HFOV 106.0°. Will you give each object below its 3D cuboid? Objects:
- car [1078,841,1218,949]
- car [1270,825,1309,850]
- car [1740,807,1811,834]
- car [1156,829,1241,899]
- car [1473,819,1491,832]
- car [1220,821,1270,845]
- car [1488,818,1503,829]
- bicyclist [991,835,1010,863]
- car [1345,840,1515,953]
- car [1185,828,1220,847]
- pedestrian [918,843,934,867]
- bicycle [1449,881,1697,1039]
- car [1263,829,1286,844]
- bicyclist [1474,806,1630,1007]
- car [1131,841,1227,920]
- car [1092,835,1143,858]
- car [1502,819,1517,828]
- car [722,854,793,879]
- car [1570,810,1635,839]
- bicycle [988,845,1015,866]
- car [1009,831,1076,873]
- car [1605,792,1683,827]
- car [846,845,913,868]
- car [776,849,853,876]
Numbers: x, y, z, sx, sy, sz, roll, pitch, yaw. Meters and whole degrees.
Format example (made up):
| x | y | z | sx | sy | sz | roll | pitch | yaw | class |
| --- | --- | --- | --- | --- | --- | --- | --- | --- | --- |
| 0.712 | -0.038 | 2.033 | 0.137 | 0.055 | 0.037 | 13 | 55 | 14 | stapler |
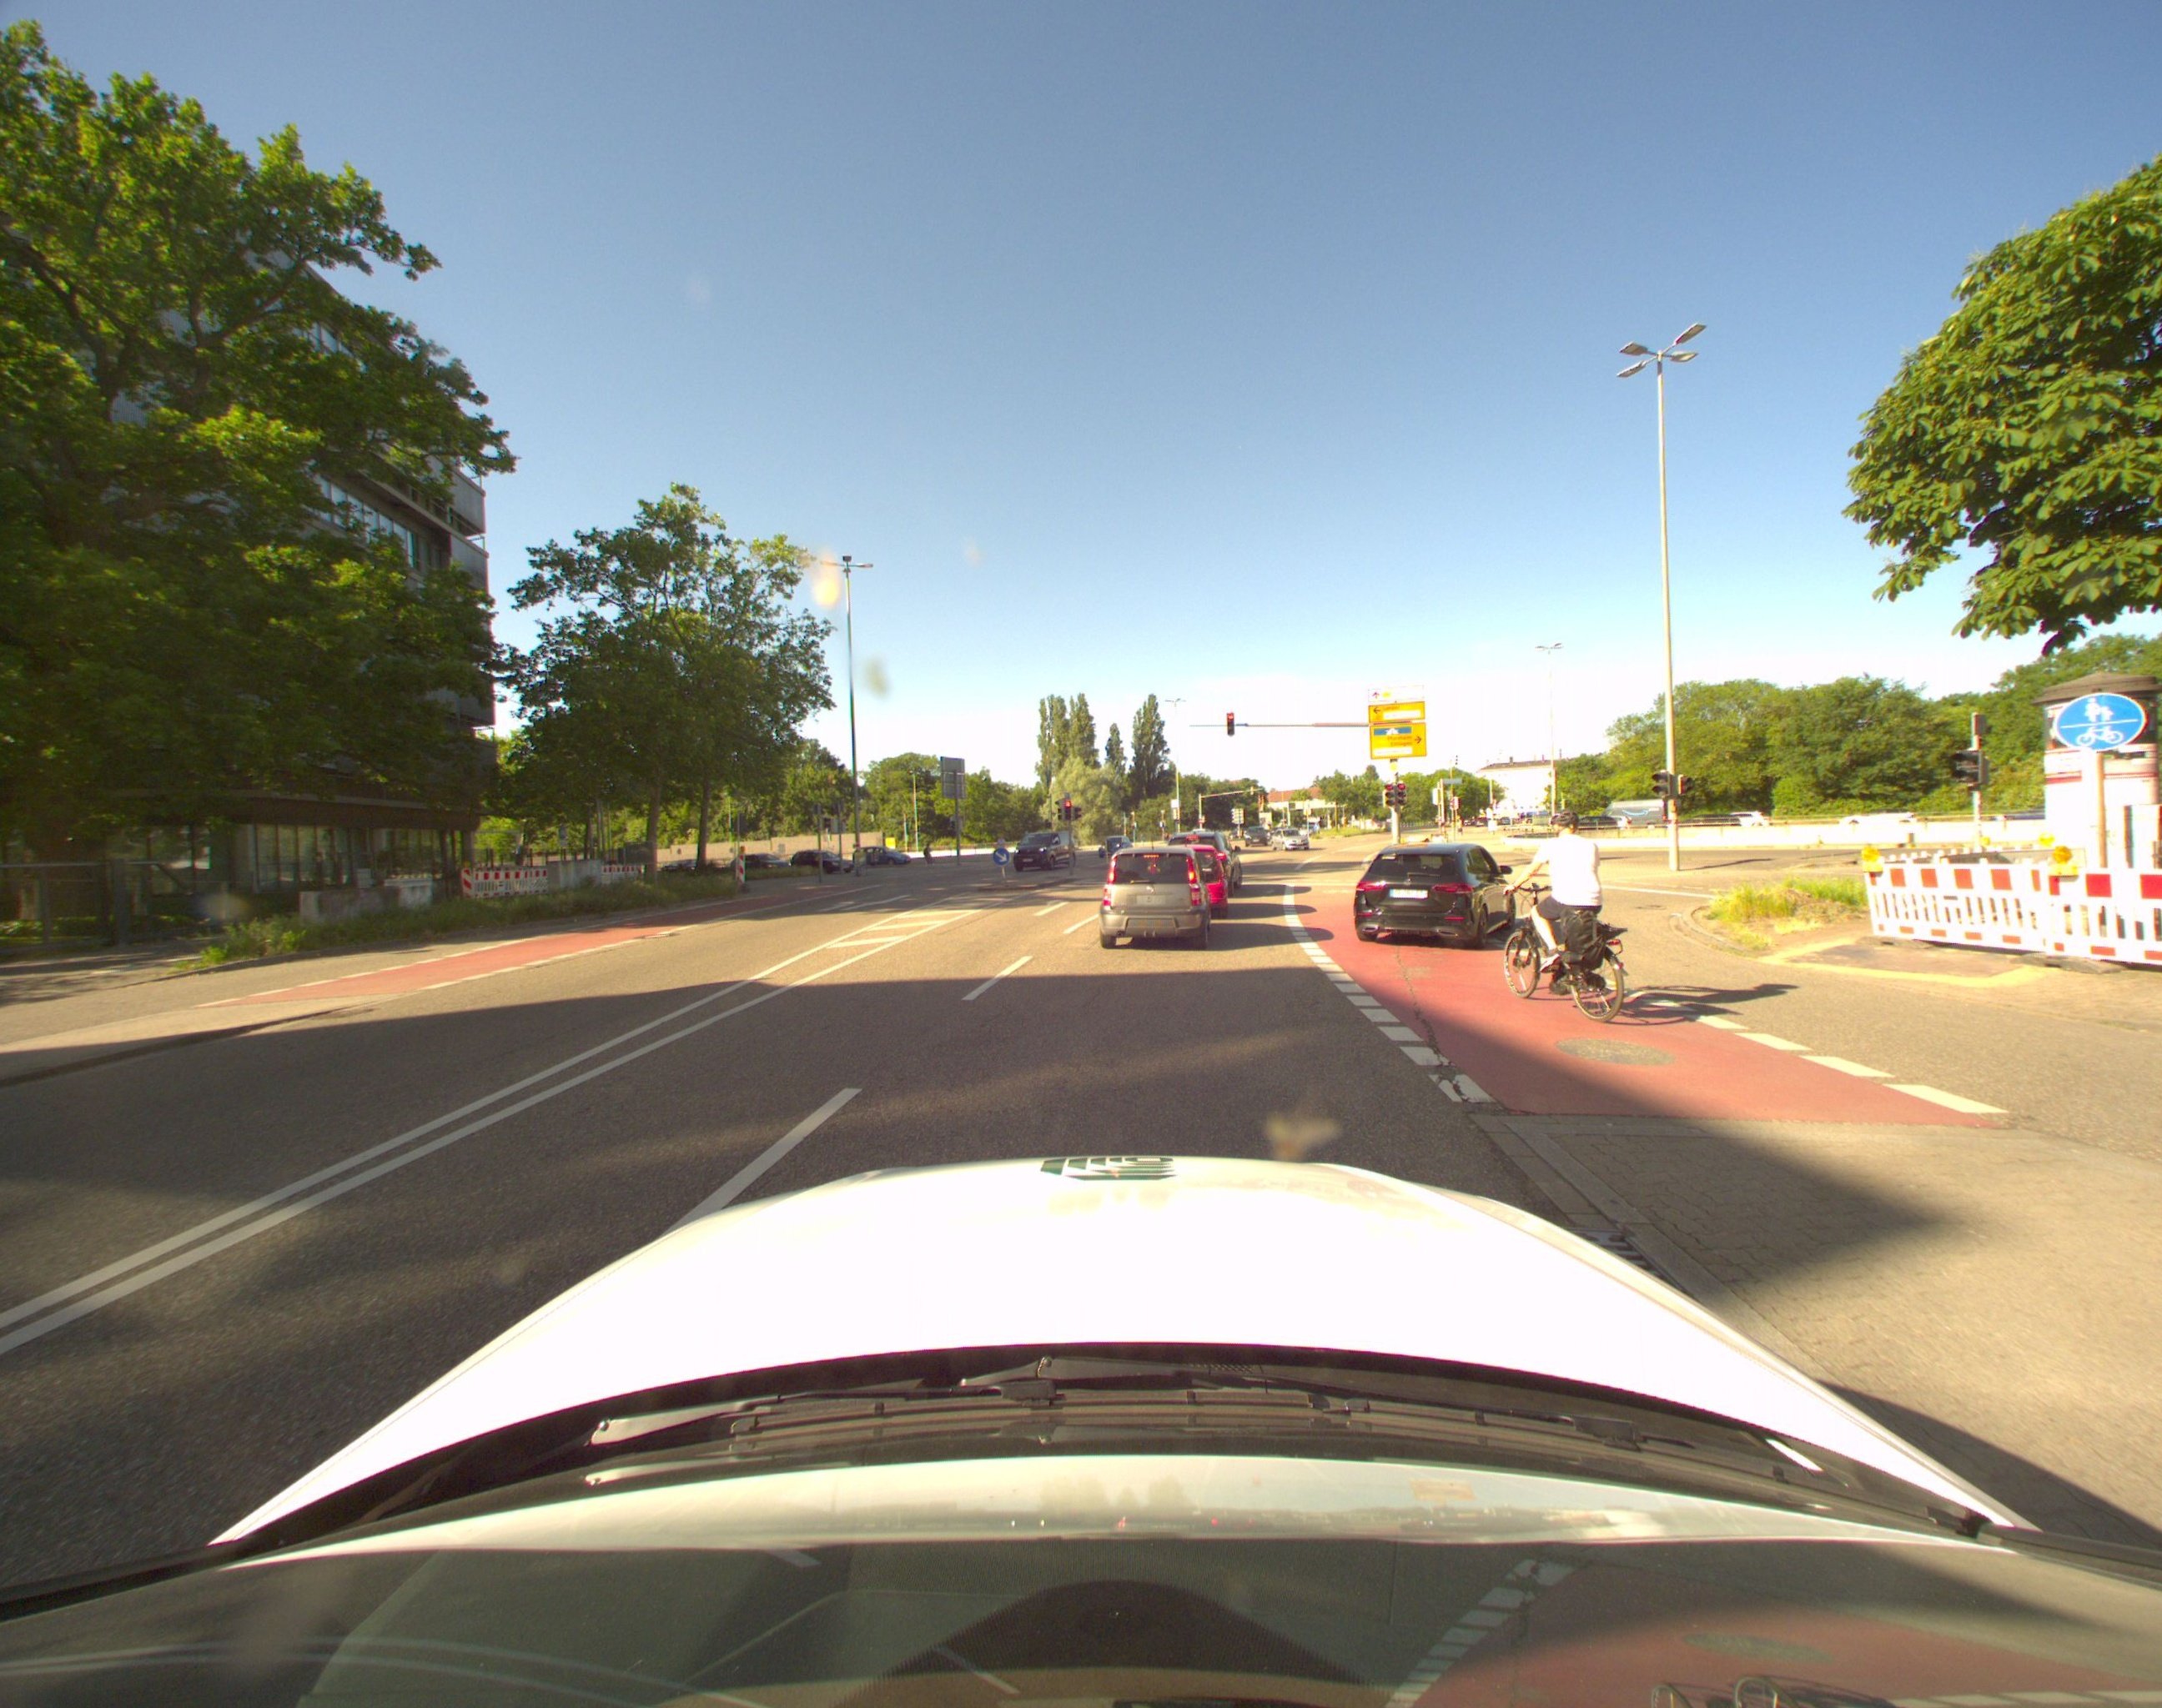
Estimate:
| x | y | z | sx | sy | sz | roll | pitch | yaw | class |
| --- | --- | --- | --- | --- | --- | --- | --- | --- | --- |
| 1.270 | 0.564 | 13.569 | 1.808 | 1.489 | 4.013 | -1 | 1 | 12 | car |
| 14.262 | -1.122 | 55.808 | 1.812 | 1.582 | 4.108 | -3 | 1 | 4 | car |
| 52.955 | -2.520 | 62.087 | 3.950 | 1.750 | 2.012 | -2 | -2 | 44 | car |
| 3.440 | 0.205 | 23.151 | 1.855 | 1.790 | 4.433 | 0 | 2 | 15 | car |
| 62.498 | -4.494 | 126.928 | 1.974 | 1.794 | 4.025 | -2 | -1 | 35 | car |
| 13.906 | -1.773 | 69.406 | 2.004 | 1.836 | 4.323 | 0 | -1 | -26 | car |
| 72.925 | -5.397 | 143.113 | 1.974 | 1.793 | 4.026 | -2 | 1 | 31 | car |
| -4.965 | -0.313 | 50.557 | 0.681 | 1.701 | 1.204 | -2 | 0 | 18 | bicyclist |
| 5.729 | 0.541 | 13.078 | 1.734 | 1.493 | 4.026 | 0 | 1 | 35 | car |
| 11.691 | -1.590 | 77.882 | 1.816 | 1.653 | 4.657 | -2 | 1 | 28 | car |
| -10.086 | 0.103 | 53.055 | 0.683 | 1.538 | 1.367 | -1 | -1 | 4 | pedestrian |
| 4.286 | 0.844 | 7.400 | 0.797 | 1.111 | 2.401 | -1 | 0 | 0 | bicycle |
| 19.992 | -1.827 | 83.942 | 1.978 | 1.453 | 4.019 | -2 | 1 | 18 | car |
| 4.278 | 0.445 | 7.489 | 0.797 | 1.705 | 1.085 | -1 | 0 | -1 | bicyclist |
| 2.216 | 0.499 | 17.787 | 1.809 | 1.479 | 4.011 | -2 | 1 | 9 | car |
| 2.623 | -0.557 | 58.117 | 1.803 | 1.503 | 4.479 | -2 | 1 | 28 | car |
| 84.499 | -6.080 | 160.593 | 1.974 | 1.640 | 4.026 | -2 | 1 | 35 | car |
| -21.180 | 0.803 | 53.312 | 4.394 | 1.438 | 1.837 | -2 | 1 | 28 | car |
| 41.026 | -2.278 | 64.115 | 3.950 | 2.014 | 2.012 | -2 | -2 | 44 | car |
| -4.926 | 0.083 | 50.629 | 0.681 | 1.202 | 2.338 | -2 | 0 | 18 | bicycle |
| -1.854 | -0.167 | 41.366 | 1.979 | 1.935 | 4.871 | -2 | 1 | 14 | car |
| 47.361 | -3.679 | 68.603 | 2.271 | 2.607 | 4.833 | 0 | -1 | -35 | car |
| -14.653 | 0.172 | 59.219 | 4.396 | 1.438 | 1.837 | -2 | 1 | 24 | car |
| -16.140 | 0.498 | 49.368 | 4.394 | 1.438 | 1.837 | -2 | 1 | 28 | car |
